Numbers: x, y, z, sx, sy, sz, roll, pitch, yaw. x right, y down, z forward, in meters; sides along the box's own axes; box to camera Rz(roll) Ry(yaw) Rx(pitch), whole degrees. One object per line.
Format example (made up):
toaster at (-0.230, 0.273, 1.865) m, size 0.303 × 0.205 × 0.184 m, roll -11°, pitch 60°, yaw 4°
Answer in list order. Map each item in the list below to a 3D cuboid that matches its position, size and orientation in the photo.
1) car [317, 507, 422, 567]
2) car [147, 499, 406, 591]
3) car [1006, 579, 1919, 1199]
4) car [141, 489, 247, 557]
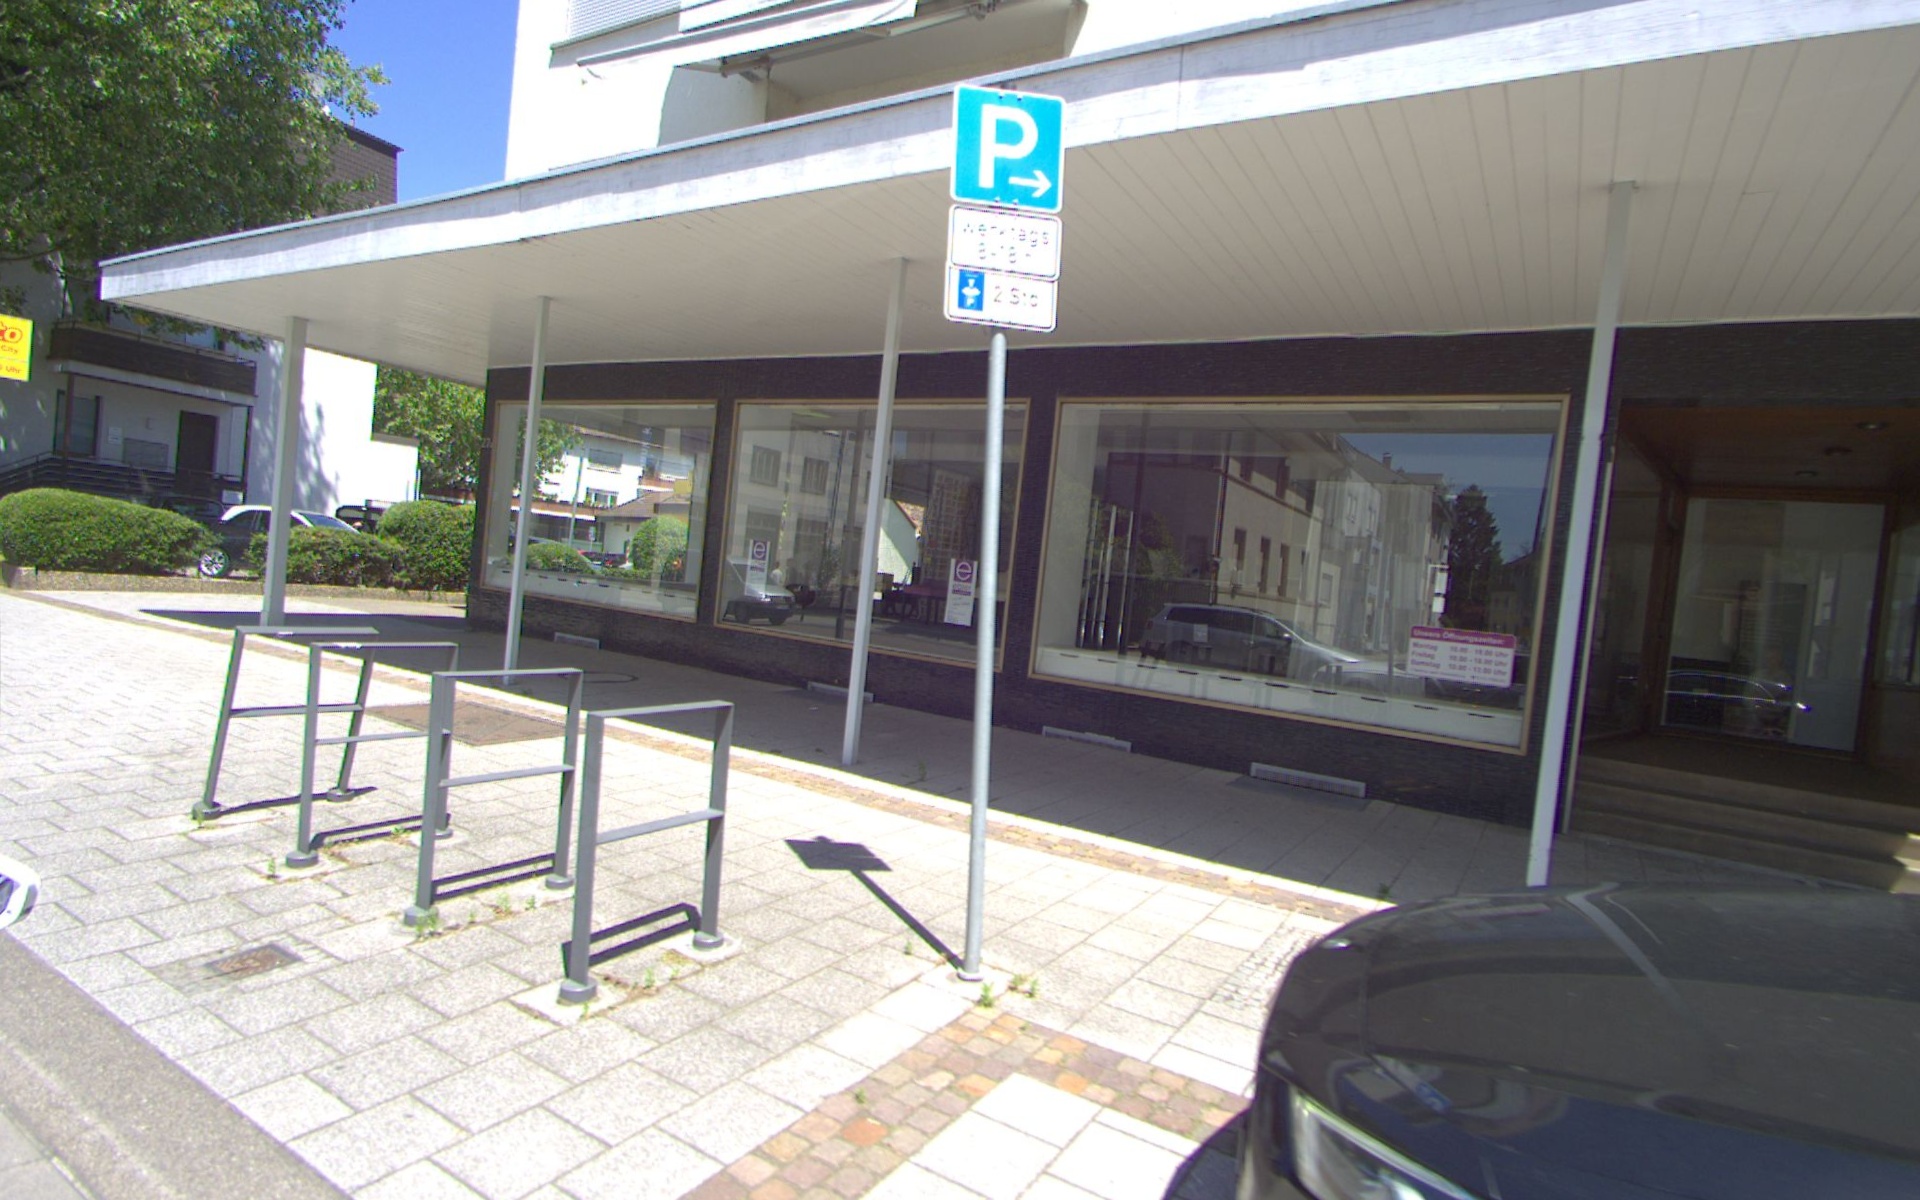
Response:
car at (-16.980, -1.821, 28.853) m, size 1.834 × 1.473 × 3.952 m, roll 1°, pitch 4°, yaw -42°
car at (-13.532, -1.087, 20.057) m, size 3.923 × 1.473 × 1.848 m, roll 4°, pitch 3°, yaw 4°
car at (2.290, 0.874, 1.196) m, size 4.094 × 1.433 × 1.845 m, roll 6°, pitch 2°, yaw 32°
car at (-19.445, -1.972, 25.479) m, size 1.834 × 1.473 × 3.952 m, roll 1°, pitch 4°, yaw -42°
